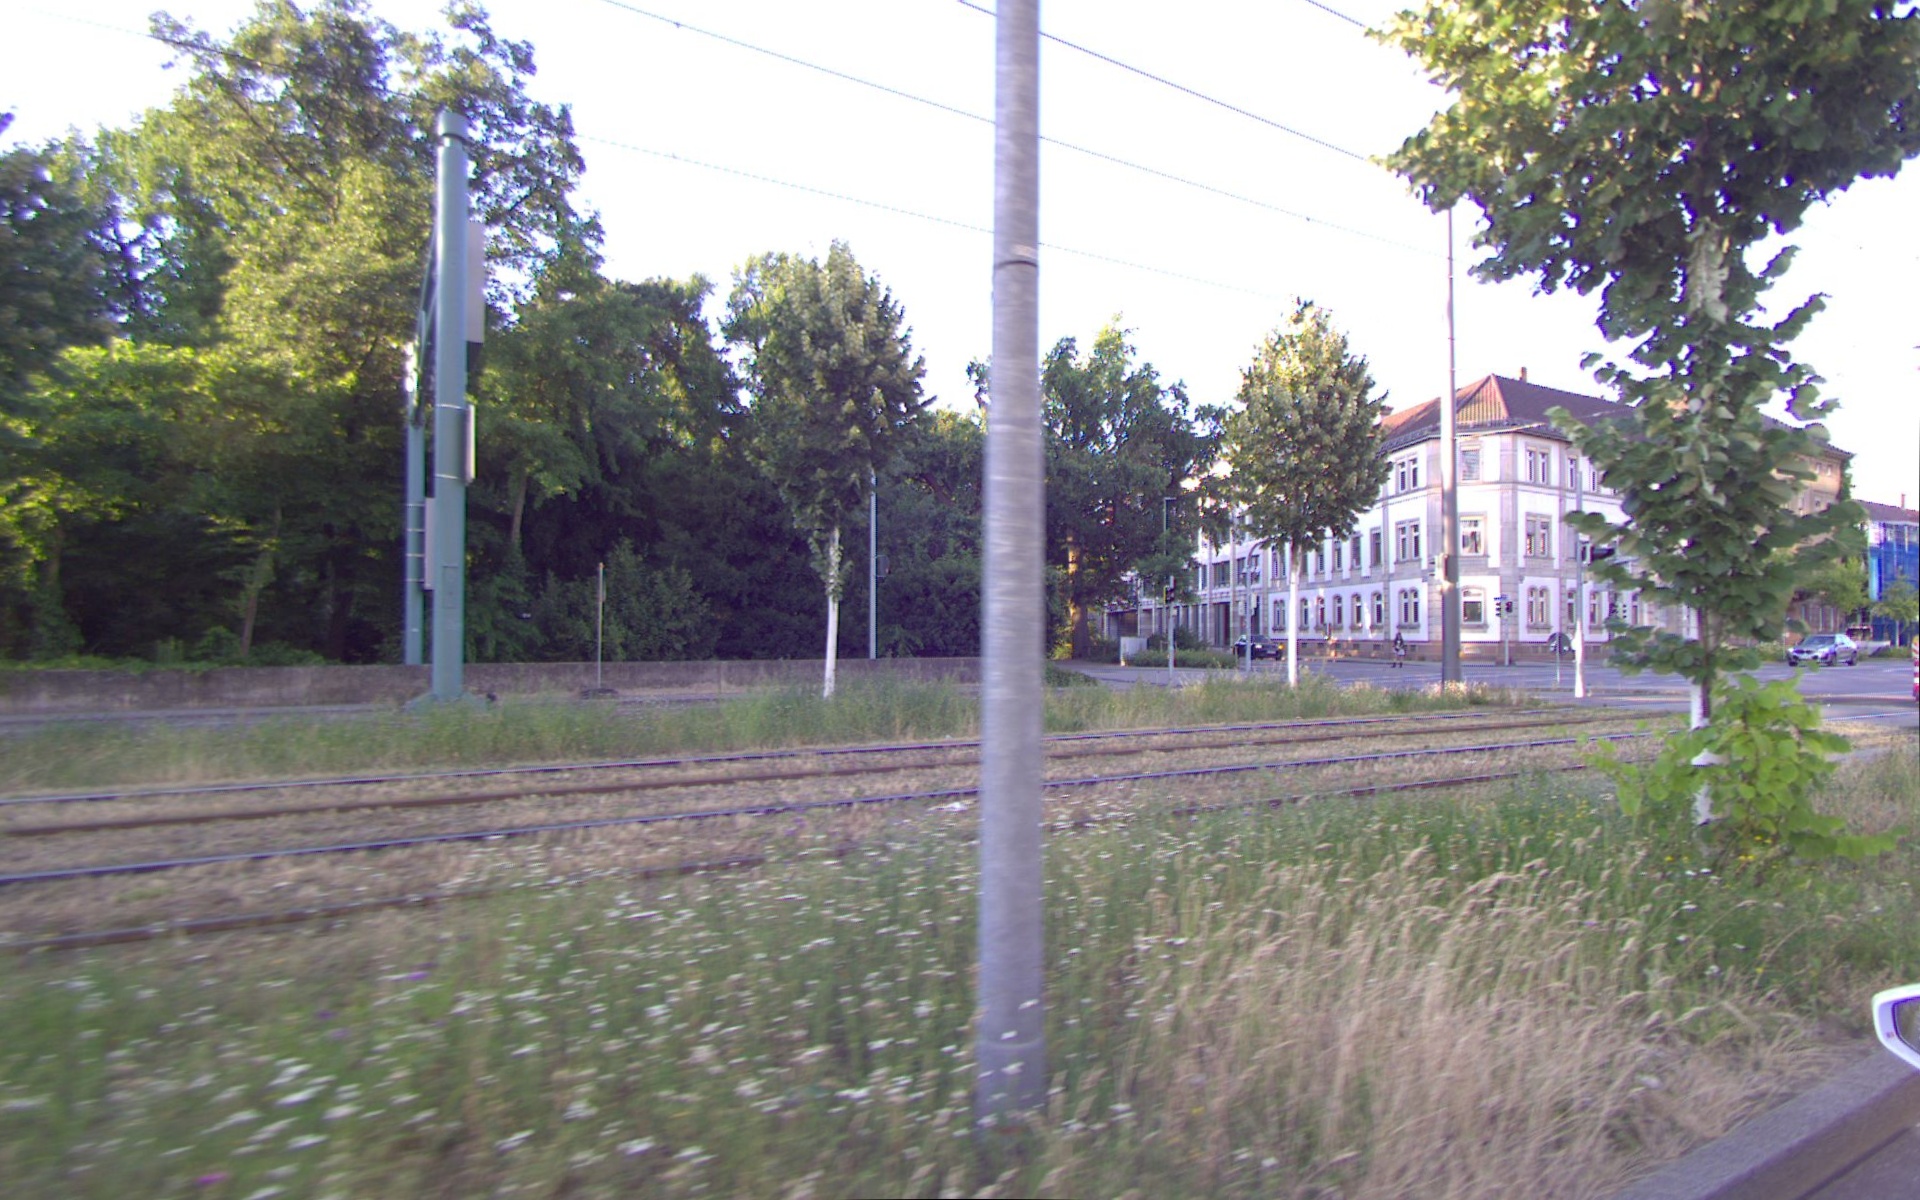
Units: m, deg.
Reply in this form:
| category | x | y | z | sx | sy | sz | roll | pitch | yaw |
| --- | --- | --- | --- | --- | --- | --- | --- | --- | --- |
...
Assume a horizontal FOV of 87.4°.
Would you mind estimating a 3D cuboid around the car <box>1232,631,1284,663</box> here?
| category | x | y | z | sx | sy | sz | roll | pitch | yaw |
| --- | --- | --- | --- | --- | --- | --- | --- | --- | --- |
| car | 17.112 | 2.684 | 57.905 | 1.755 | 1.576 | 3.999 | 1 | 0 | -1 |

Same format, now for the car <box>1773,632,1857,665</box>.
| category | x | y | z | sx | sy | sz | roll | pitch | yaw |
| --- | --- | --- | --- | --- | --- | --- | --- | --- | --- |
| car | 43.869 | 2.491 | 51.526 | 4.075 | 1.601 | 1.985 | 1 | -3 | -30 |

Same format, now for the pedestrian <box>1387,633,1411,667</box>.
| category | x | y | z | sx | sy | sz | roll | pitch | yaw |
| --- | --- | --- | --- | --- | --- | --- | --- | --- | --- |
| pedestrian | 19.642 | 2.228 | 44.936 | 0.928 | 1.478 | 0.598 | 1 | 0 | -40 |

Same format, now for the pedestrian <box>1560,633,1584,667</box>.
| category | x | y | z | sx | sy | sz | roll | pitch | yaw |
| --- | --- | --- | --- | --- | --- | --- | --- | --- | --- |
| pedestrian | 31.997 | 2.605 | 52.506 | 0.801 | 1.738 | 0.700 | 1 | 1 | -23 |
